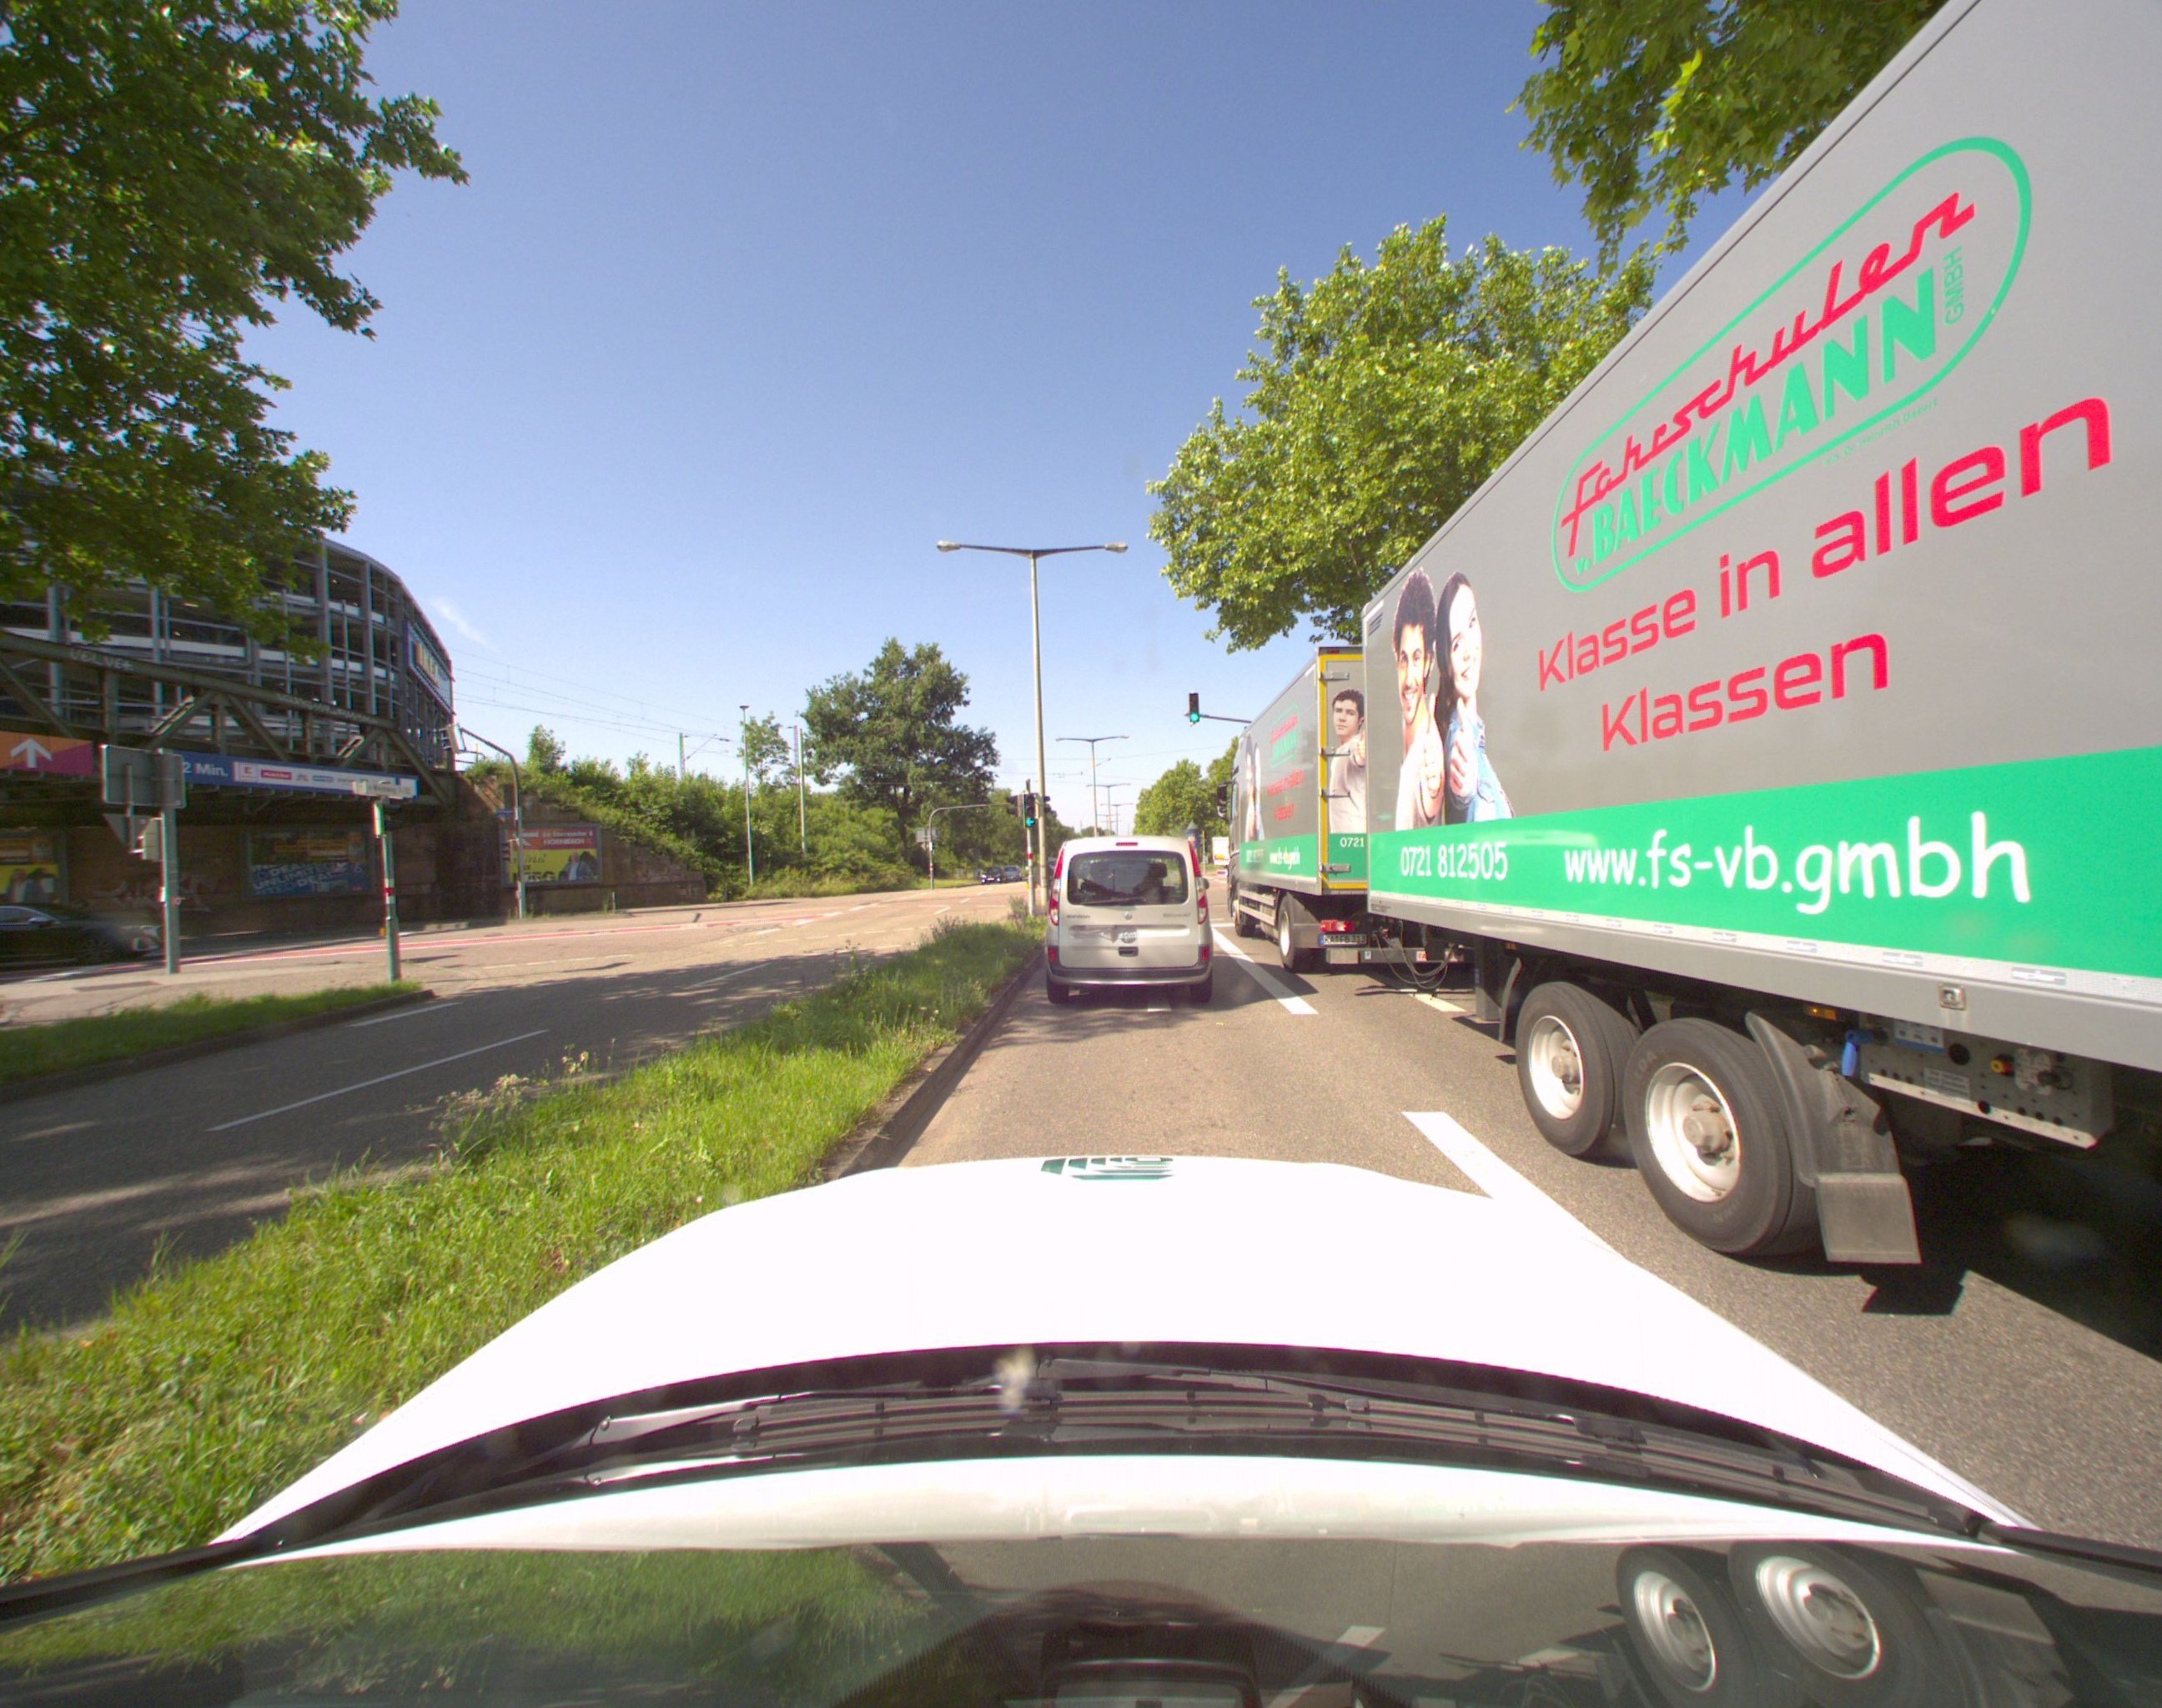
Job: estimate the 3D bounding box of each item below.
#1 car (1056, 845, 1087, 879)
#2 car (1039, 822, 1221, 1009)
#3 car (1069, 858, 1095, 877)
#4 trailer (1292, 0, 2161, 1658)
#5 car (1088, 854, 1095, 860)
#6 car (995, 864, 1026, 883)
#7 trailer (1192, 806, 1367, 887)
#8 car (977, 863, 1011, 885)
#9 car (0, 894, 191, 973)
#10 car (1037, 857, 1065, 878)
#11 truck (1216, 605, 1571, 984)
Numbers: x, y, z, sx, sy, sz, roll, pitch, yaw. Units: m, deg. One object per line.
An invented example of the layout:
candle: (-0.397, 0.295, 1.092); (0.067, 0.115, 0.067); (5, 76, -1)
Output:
car: (-0.755, 0.674, 68.352); (1.984, 2.607, 5.139); (-3, -1, 4)
car: (0.540, 0.631, 10.006); (1.780, 1.838, 4.001); (0, -1, 2)
car: (0.139, 1.277, 75.799); (1.984, 1.585, 4.005); (-3, -1, 5)
trailer: (3.401, -0.530, 4.635); (2.724, 3.877, 7.742); (-2, -1, 4)
car: (3.173, 0.935, 253.382); (1.880, 2.014, 4.004); (0, -1, 4)
car: (-6.194, 1.655, 71.597); (1.984, 1.540, 4.241); (-3, -1, 4)
trailer: (10.622, -0.282, 41.957); (2.873, 3.623, 12.762); (-1, -1, 43)
car: (-6.849, 1.571, 64.291); (1.903, 1.641, 3.741); (-3, -1, 4)
car: (-25.886, 2.010, 20.674); (4.015, 1.646, 1.885); (-4, 1, -32)
car: (-2.797, 1.264, 76.855); (1.984, 1.870, 4.779); (-3, -1, 4)
truck: (3.964, -0.555, 12.875); (2.717, 3.890, 8.732); (-2, -1, 4)
